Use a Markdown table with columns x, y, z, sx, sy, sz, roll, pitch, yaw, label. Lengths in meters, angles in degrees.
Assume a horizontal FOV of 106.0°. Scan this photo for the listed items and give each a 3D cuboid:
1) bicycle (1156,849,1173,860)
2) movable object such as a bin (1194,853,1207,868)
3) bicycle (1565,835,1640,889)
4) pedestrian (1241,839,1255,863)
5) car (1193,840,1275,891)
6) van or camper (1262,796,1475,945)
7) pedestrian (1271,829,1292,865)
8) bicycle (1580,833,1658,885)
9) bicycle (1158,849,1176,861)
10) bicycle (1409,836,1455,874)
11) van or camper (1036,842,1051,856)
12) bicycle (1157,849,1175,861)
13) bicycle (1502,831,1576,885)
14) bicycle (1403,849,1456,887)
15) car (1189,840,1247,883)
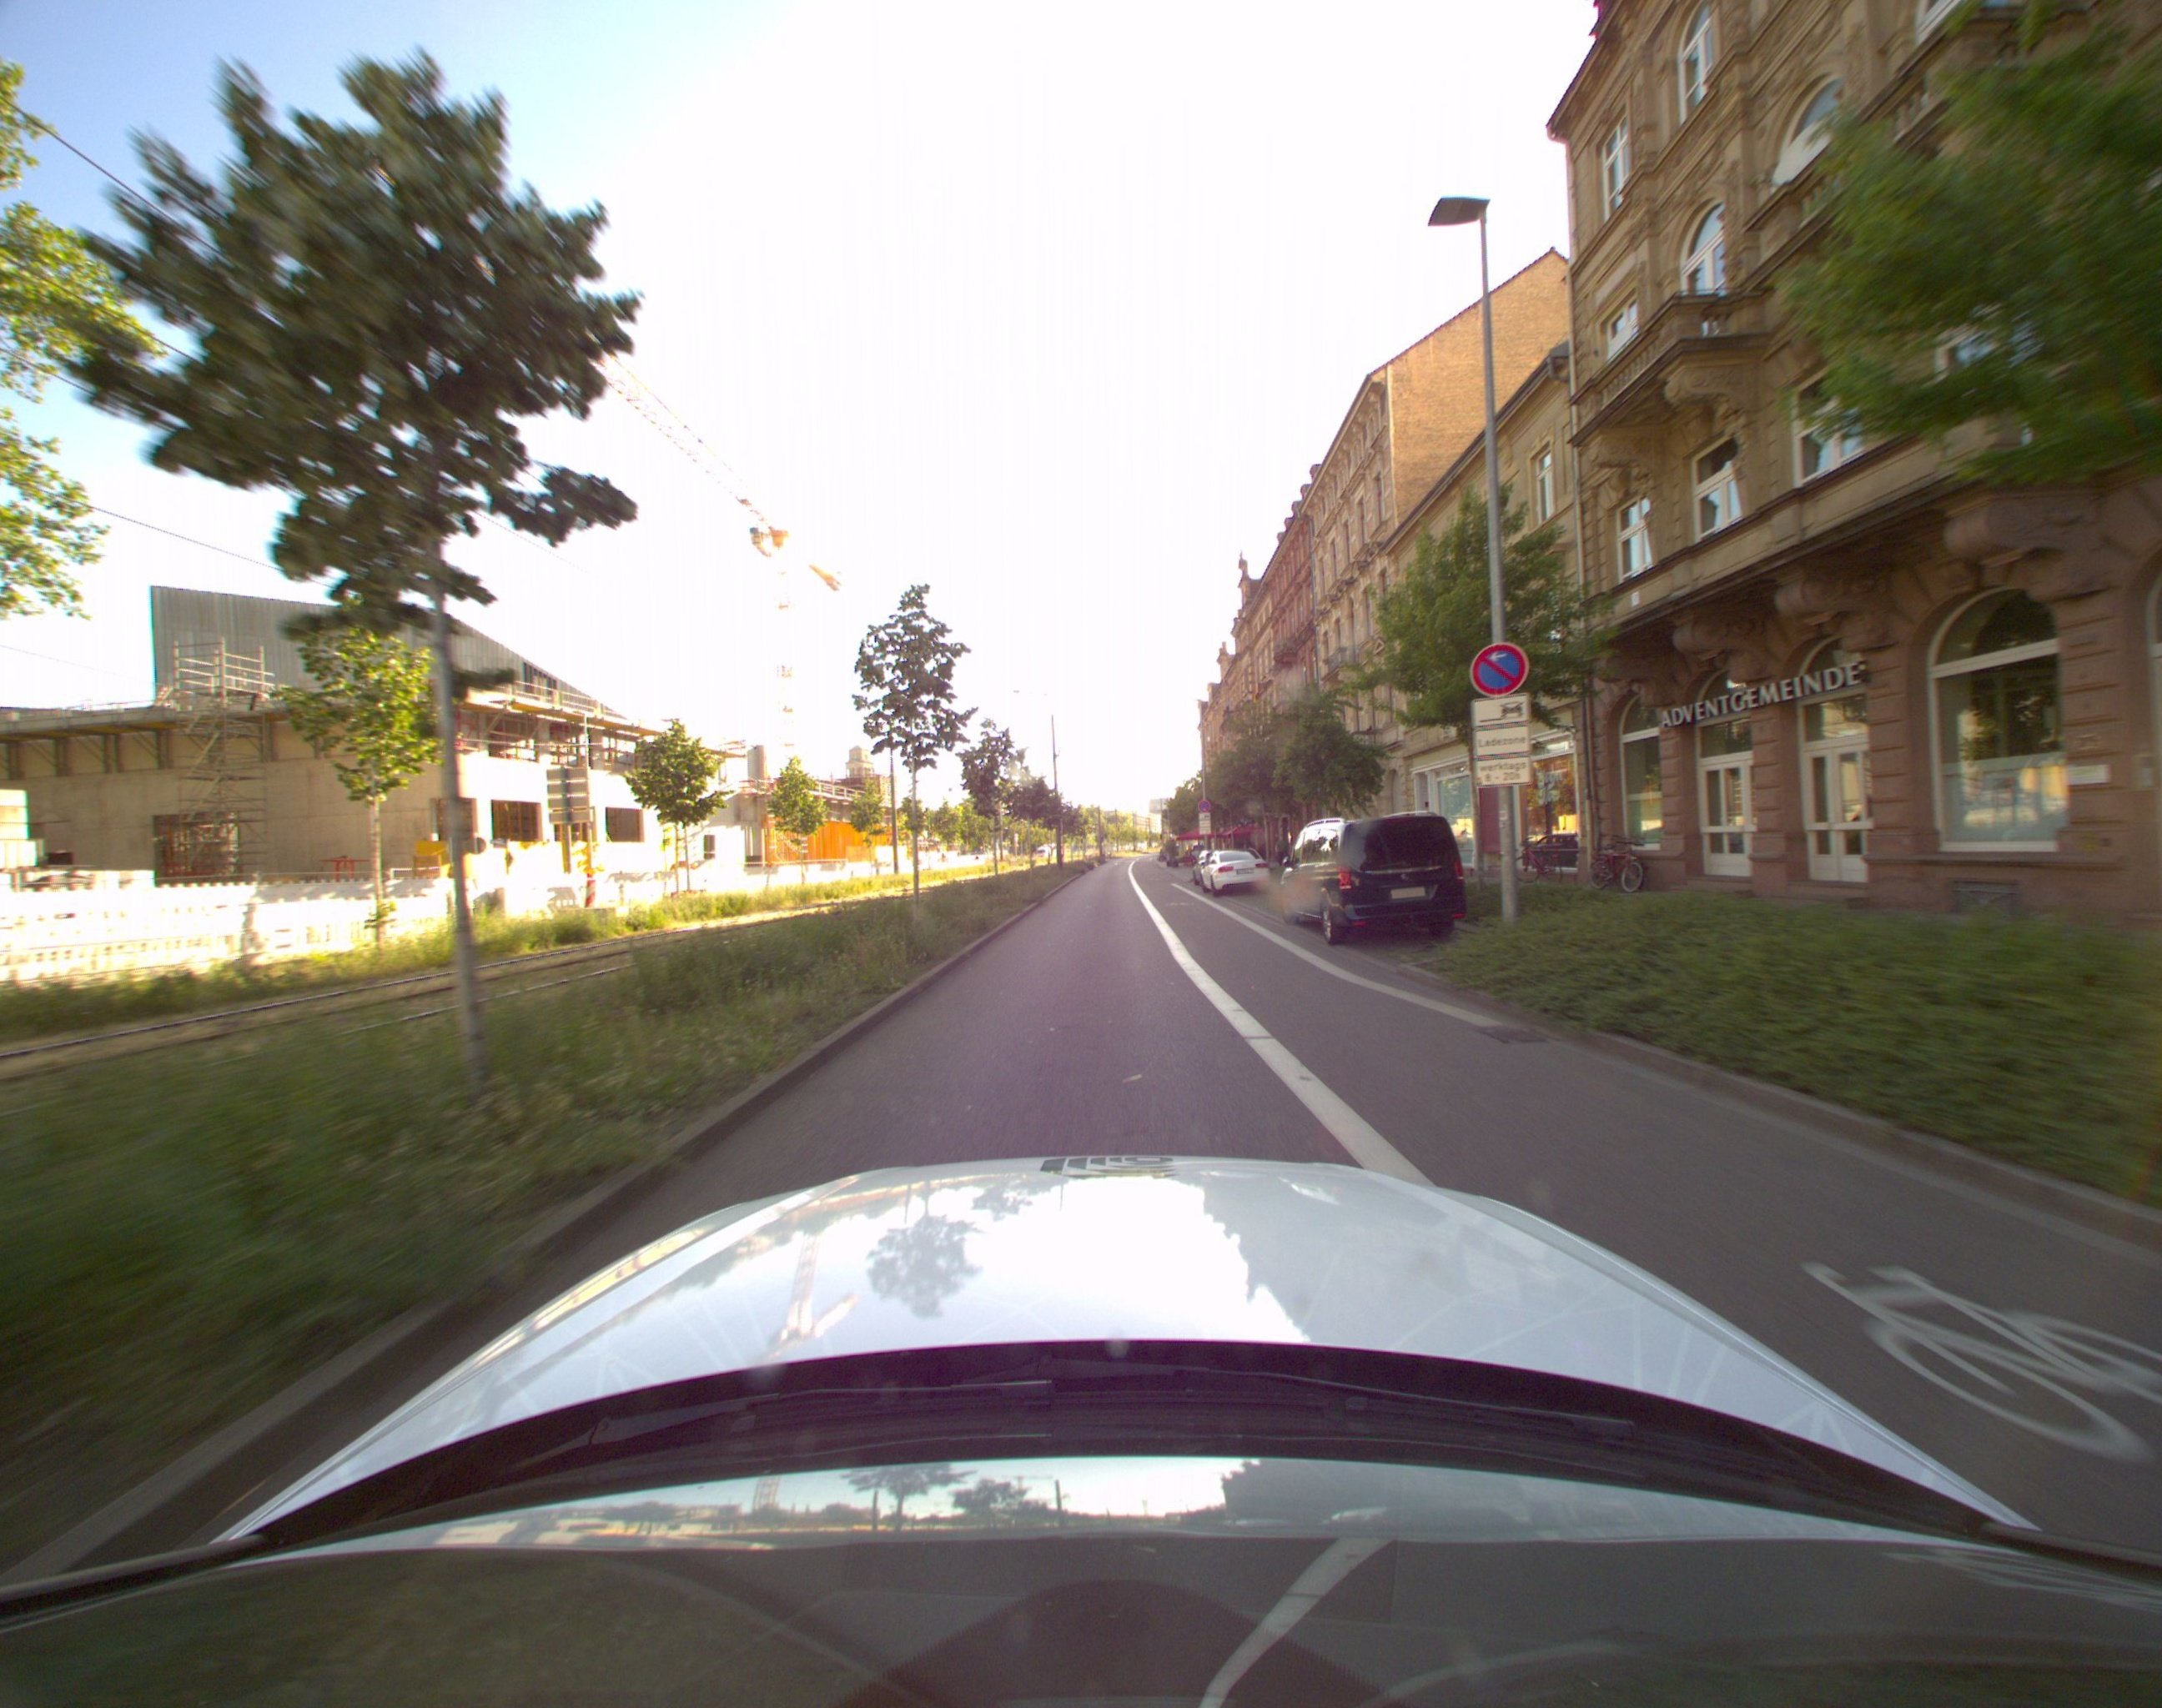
| x | y | z | sx | sy | sz | roll | pitch | yaw | label |
| --- | --- | --- | --- | --- | --- | --- | --- | --- | --- |
| 9.365 | 0.020 | 91.287 | 1.743 | 1.104 | 0.508 | -5 | 0 | 8 | bicycle |
| 7.961 | 0.406 | 54.258 | 0.669 | 0.924 | 0.563 | -6 | -1 | 23 | movable object such as a bin |
| 11.011 | 0.159 | 17.276 | 0.323 | 1.064 | 2.074 | -2 | 0 | 3 | bicycle |
| 11.303 | -0.221 | 55.102 | 0.725 | 1.533 | 0.797 | -4 | 0 | 2 | pedestrian |
| 5.077 | 0.336 | 27.688 | 1.842 | 1.454 | 5.254 | -4 | 0 | 2 | car |
| 4.690 | 0.210 | 14.293 | 1.953 | 1.971 | 5.492 | -4 | 0 | 3 | van or camper |
| 9.984 | -0.346 | 40.634 | 0.744 | 1.754 | 1.073 | -4 | 0 | 3 | pedestrian |
| 11.355 | 0.092 | 17.267 | 0.341 | 1.033 | 2.074 | -2 | 0 | 3 | bicycle |
| 9.014 | 0.097 | 85.247 | 1.794 | 1.047 | 0.567 | -5 | 0 | 8 | bicycle |
| 11.677 | 0.021 | 27.137 | 0.716 | 1.195 | 1.772 | -2 | 0 | -1 | bicycle |
| -7.736 | -1.077 | 168.755 | 2.212 | 2.509 | 7.207 | -4 | 1 | 3 | van or camper |
| 9.093 | 0.065 | 86.912 | 1.834 | 1.104 | 0.567 | -5 | 0 | 8 | bicycle |
| 11.259 | 0.090 | 20.094 | 0.702 | 1.220 | 2.074 | -2 | 0 | 3 | bicycle |
| 8.755 | 0.334 | 20.513 | 0.652 | 0.916 | 1.684 | -2 | 0 | 2 | bicycle |
| 5.652 | 0.276 | 34.011 | 1.841 | 1.564 | 4.301 | -4 | 0 | 3 | car |
